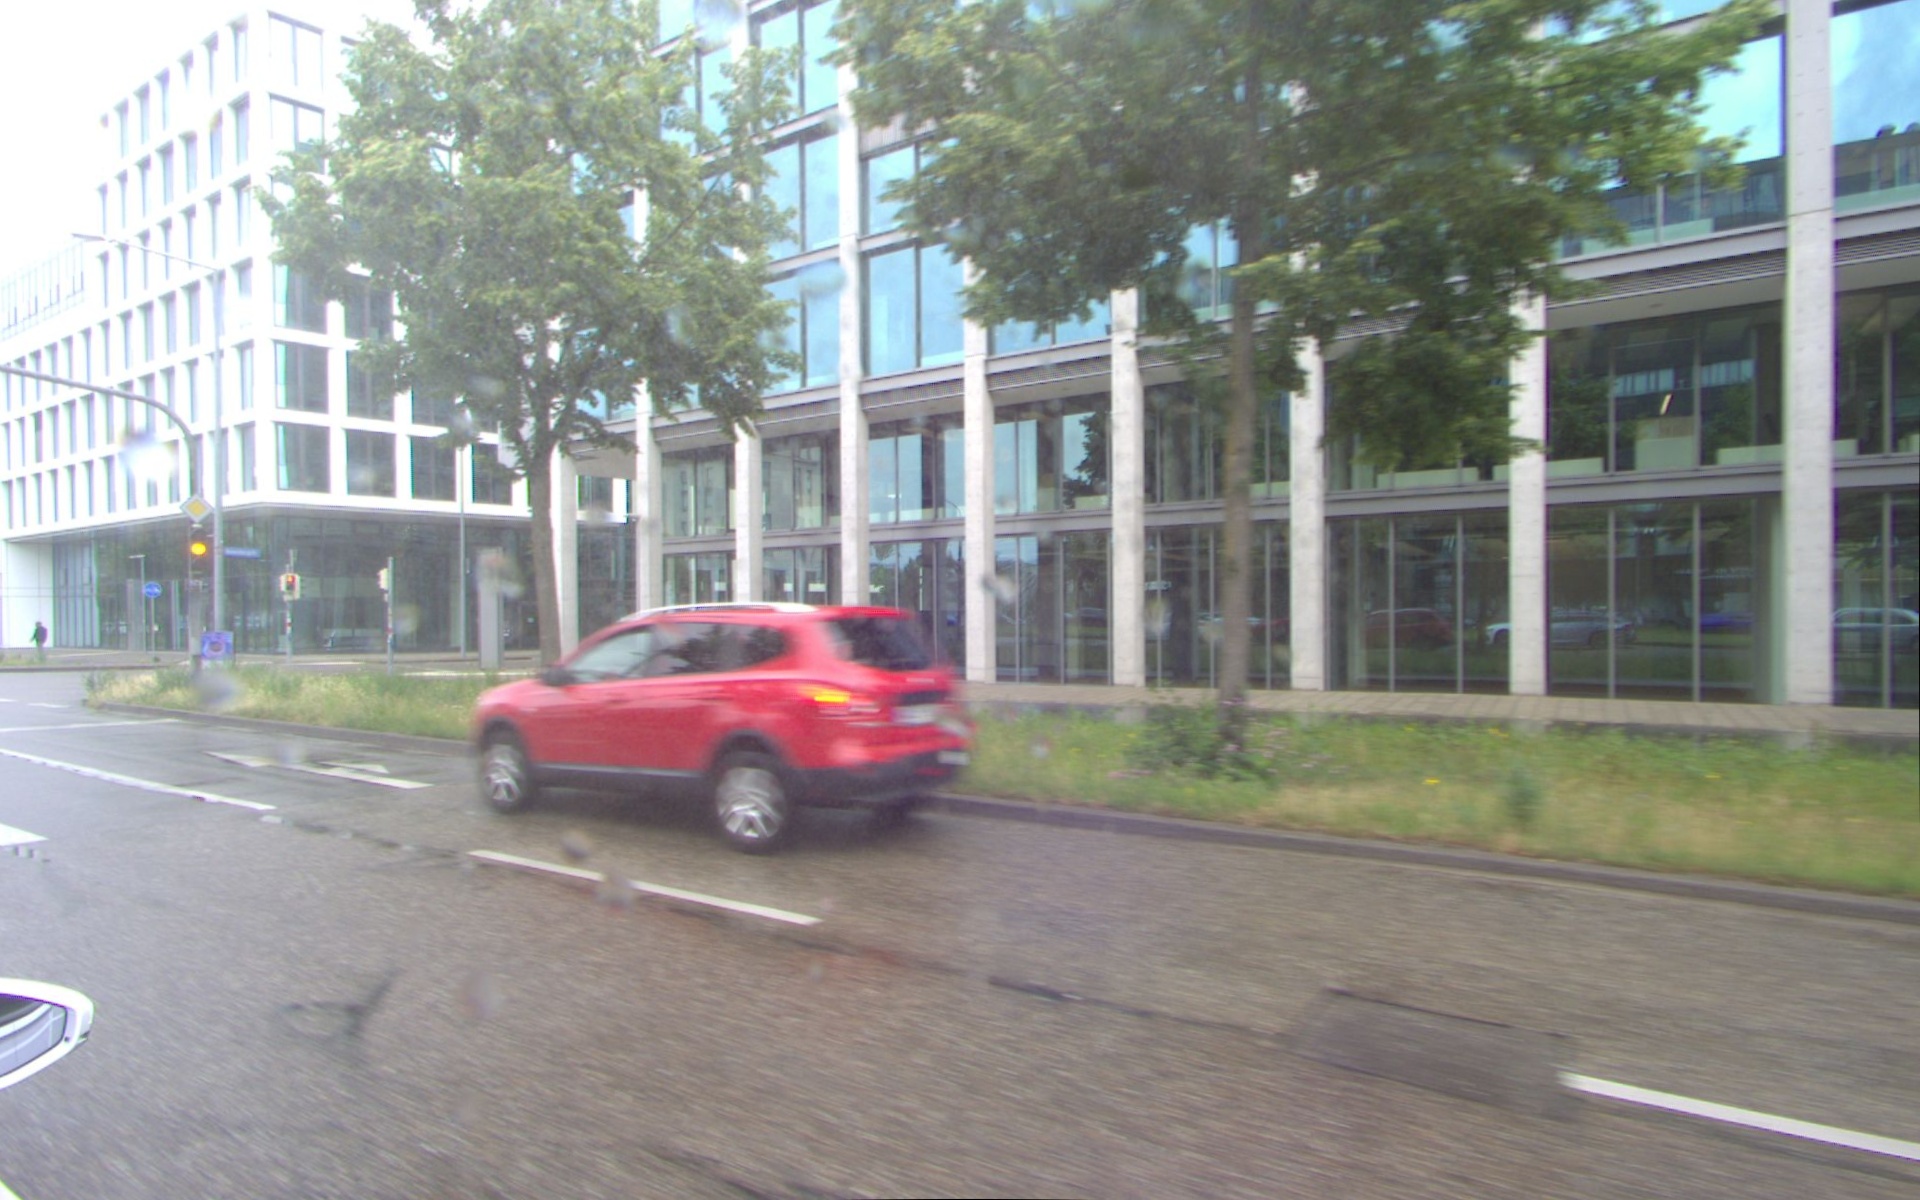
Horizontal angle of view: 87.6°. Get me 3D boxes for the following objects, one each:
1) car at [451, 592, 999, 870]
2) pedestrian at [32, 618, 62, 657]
[{"bbox_3d":[-1.946,0.827,7.815,4.186,1.632,1.791,0,-2,34],"label":"car"},{"bbox_3d":[-40.905,1.657,44.871,0.770,1.729,0.678,0,0,19],"label":"pedestrian"}]
